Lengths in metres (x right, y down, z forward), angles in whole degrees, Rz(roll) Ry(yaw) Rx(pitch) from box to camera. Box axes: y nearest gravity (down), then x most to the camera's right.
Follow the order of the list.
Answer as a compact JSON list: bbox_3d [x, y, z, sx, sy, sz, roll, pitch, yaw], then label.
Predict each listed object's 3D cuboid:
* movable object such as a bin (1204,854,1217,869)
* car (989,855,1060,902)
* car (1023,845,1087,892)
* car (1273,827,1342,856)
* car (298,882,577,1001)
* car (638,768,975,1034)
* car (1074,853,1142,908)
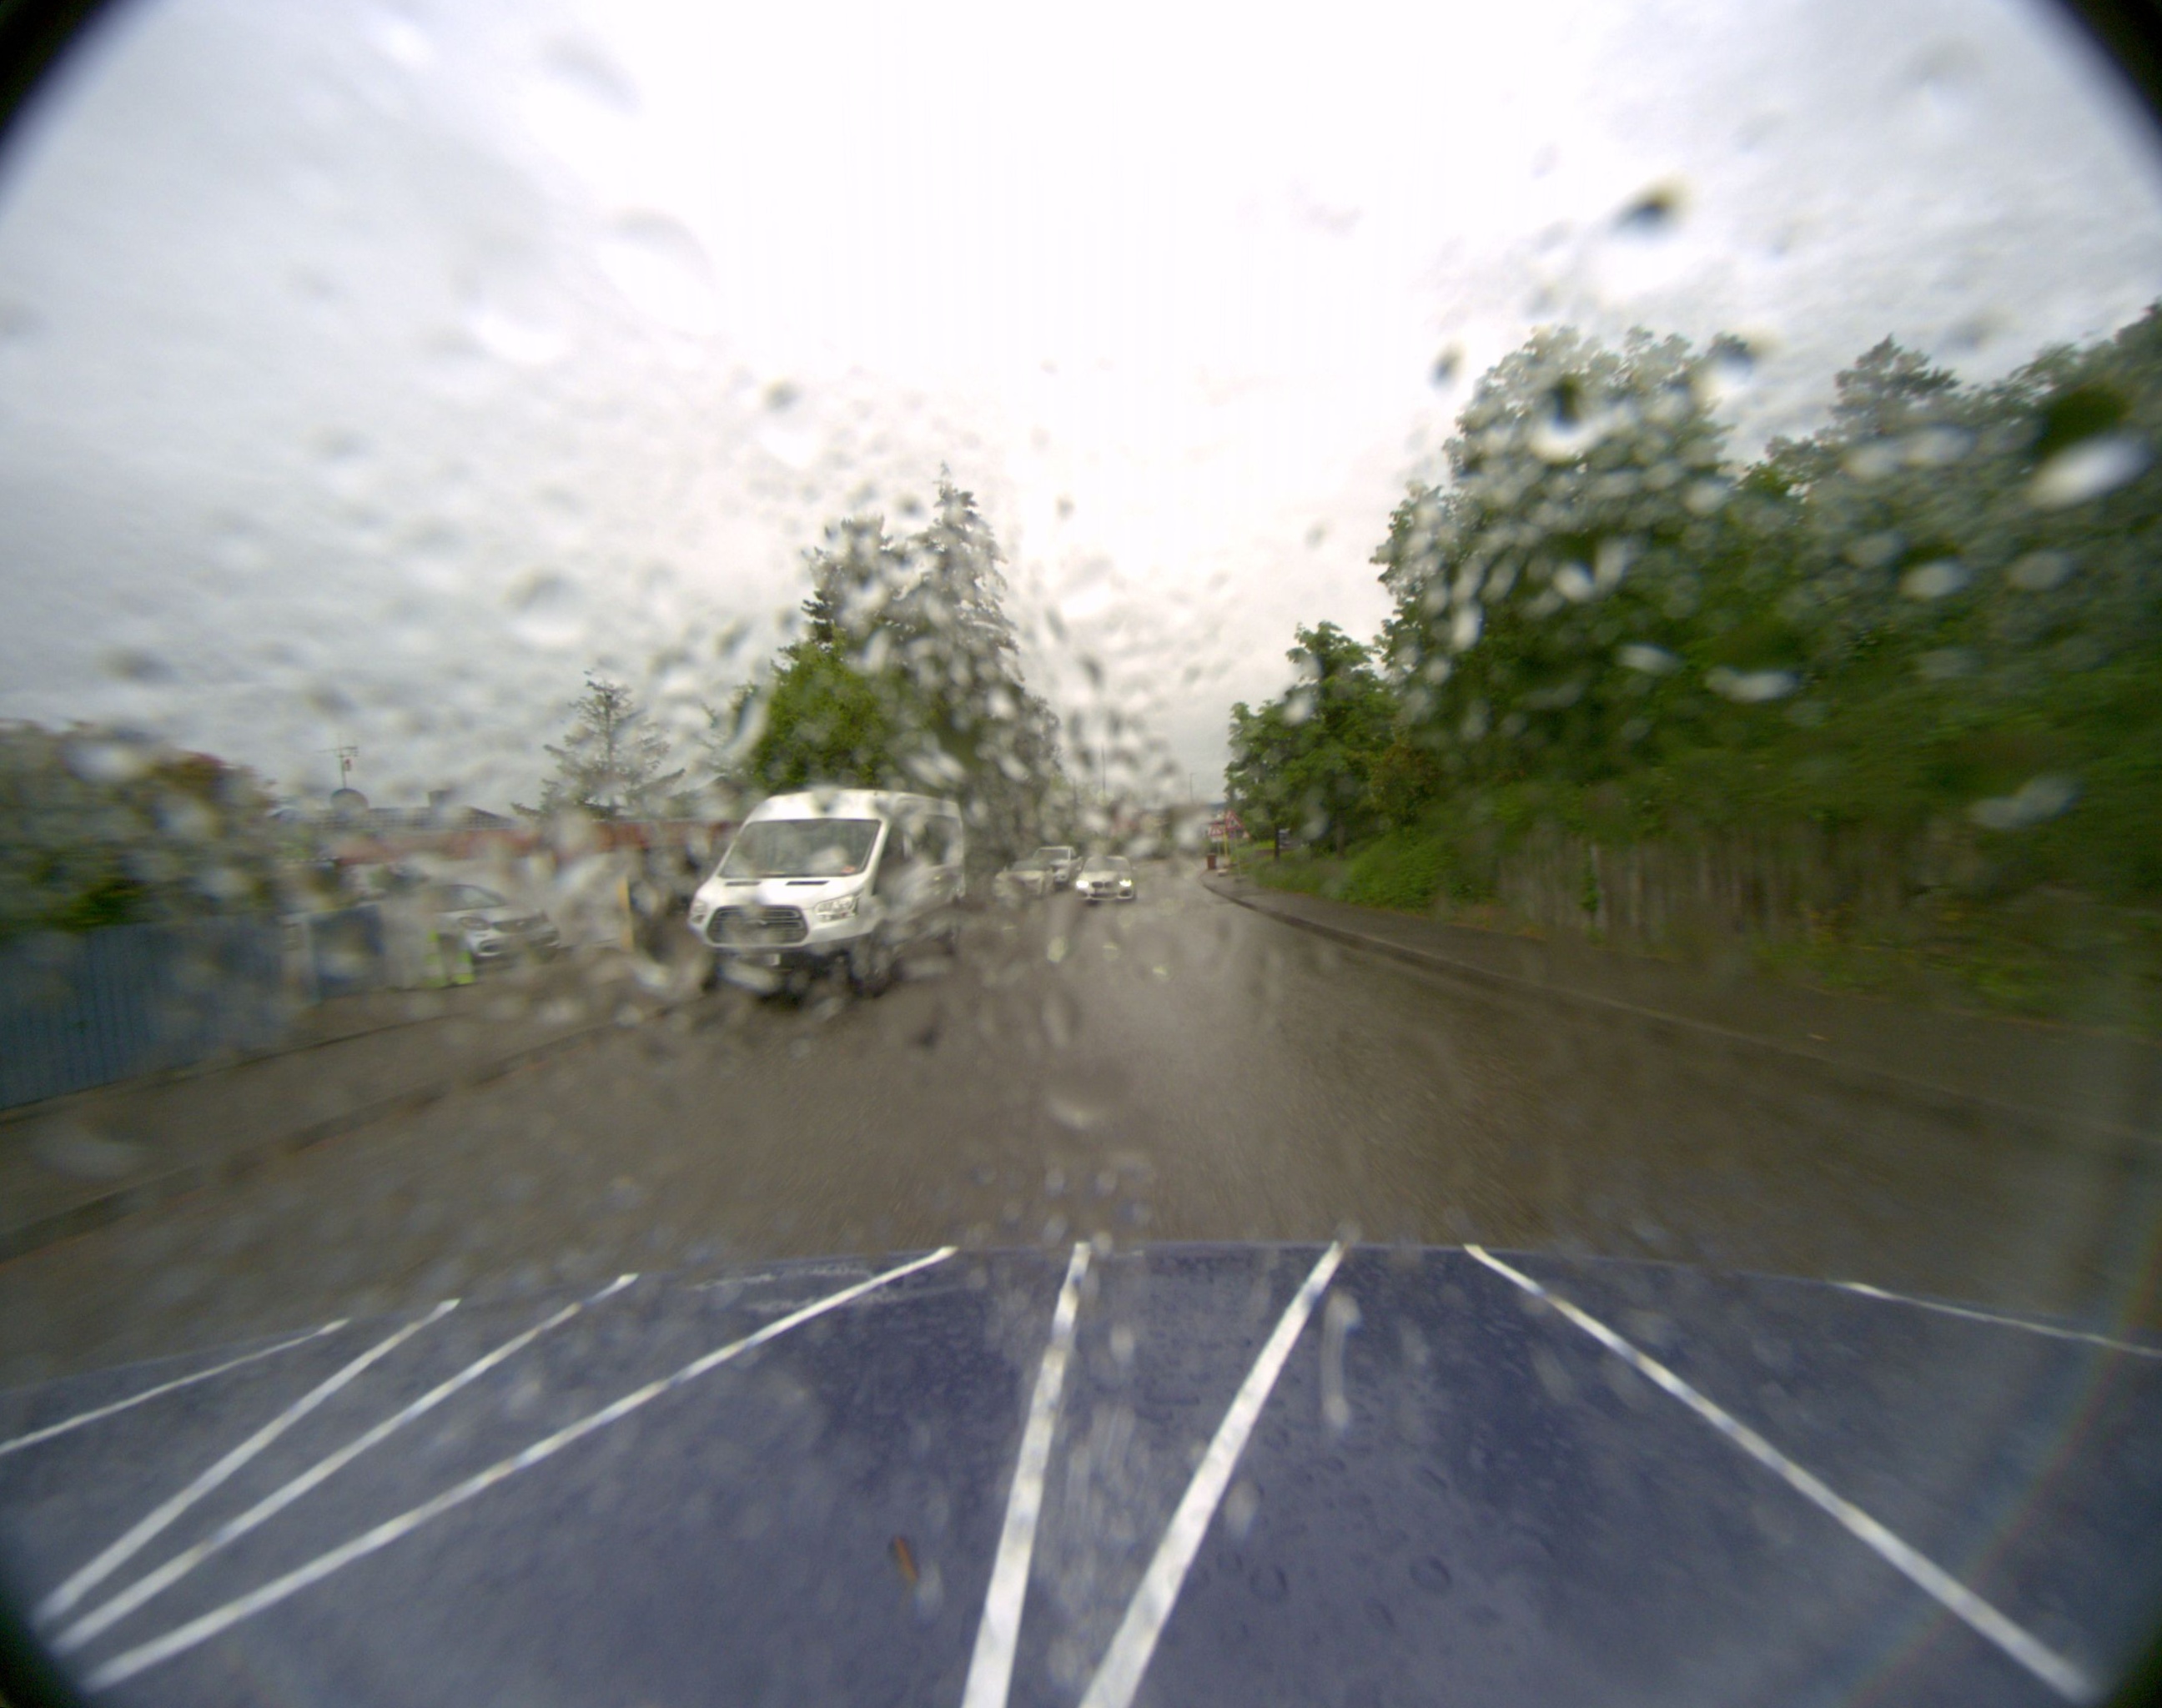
[{"bbox_3d":[9.098,0.497,53.456,0.881,1.024,0.803,-2,1,8],"label":"movable object such as a bin"},{"bbox_3d":[-1.903,0.802,26.813,1.753,1.415,4.001,-2,1,6],"label":"car"},{"bbox_3d":[-1.011,0.535,32.296,1.868,1.808,4.864,-2,1,8],"label":"car"},{"bbox_3d":[15.294,-0.841,51.488,3.997,1.753,1.963,-3,1,-1],"label":"car"},{"bbox_3d":[-10.534,1.416,12.498,3.589,1.448,1.660,-7,-1,15],"label":"car"},{"bbox_3d":[-3.096,0.429,10.453,2.077,2.535,6.181,-2,1,3],"label":"car"},{"bbox_3d":[0.925,0.762,23.685,1.797,1.455,4.001,-2,1,6],"label":"car"}]
